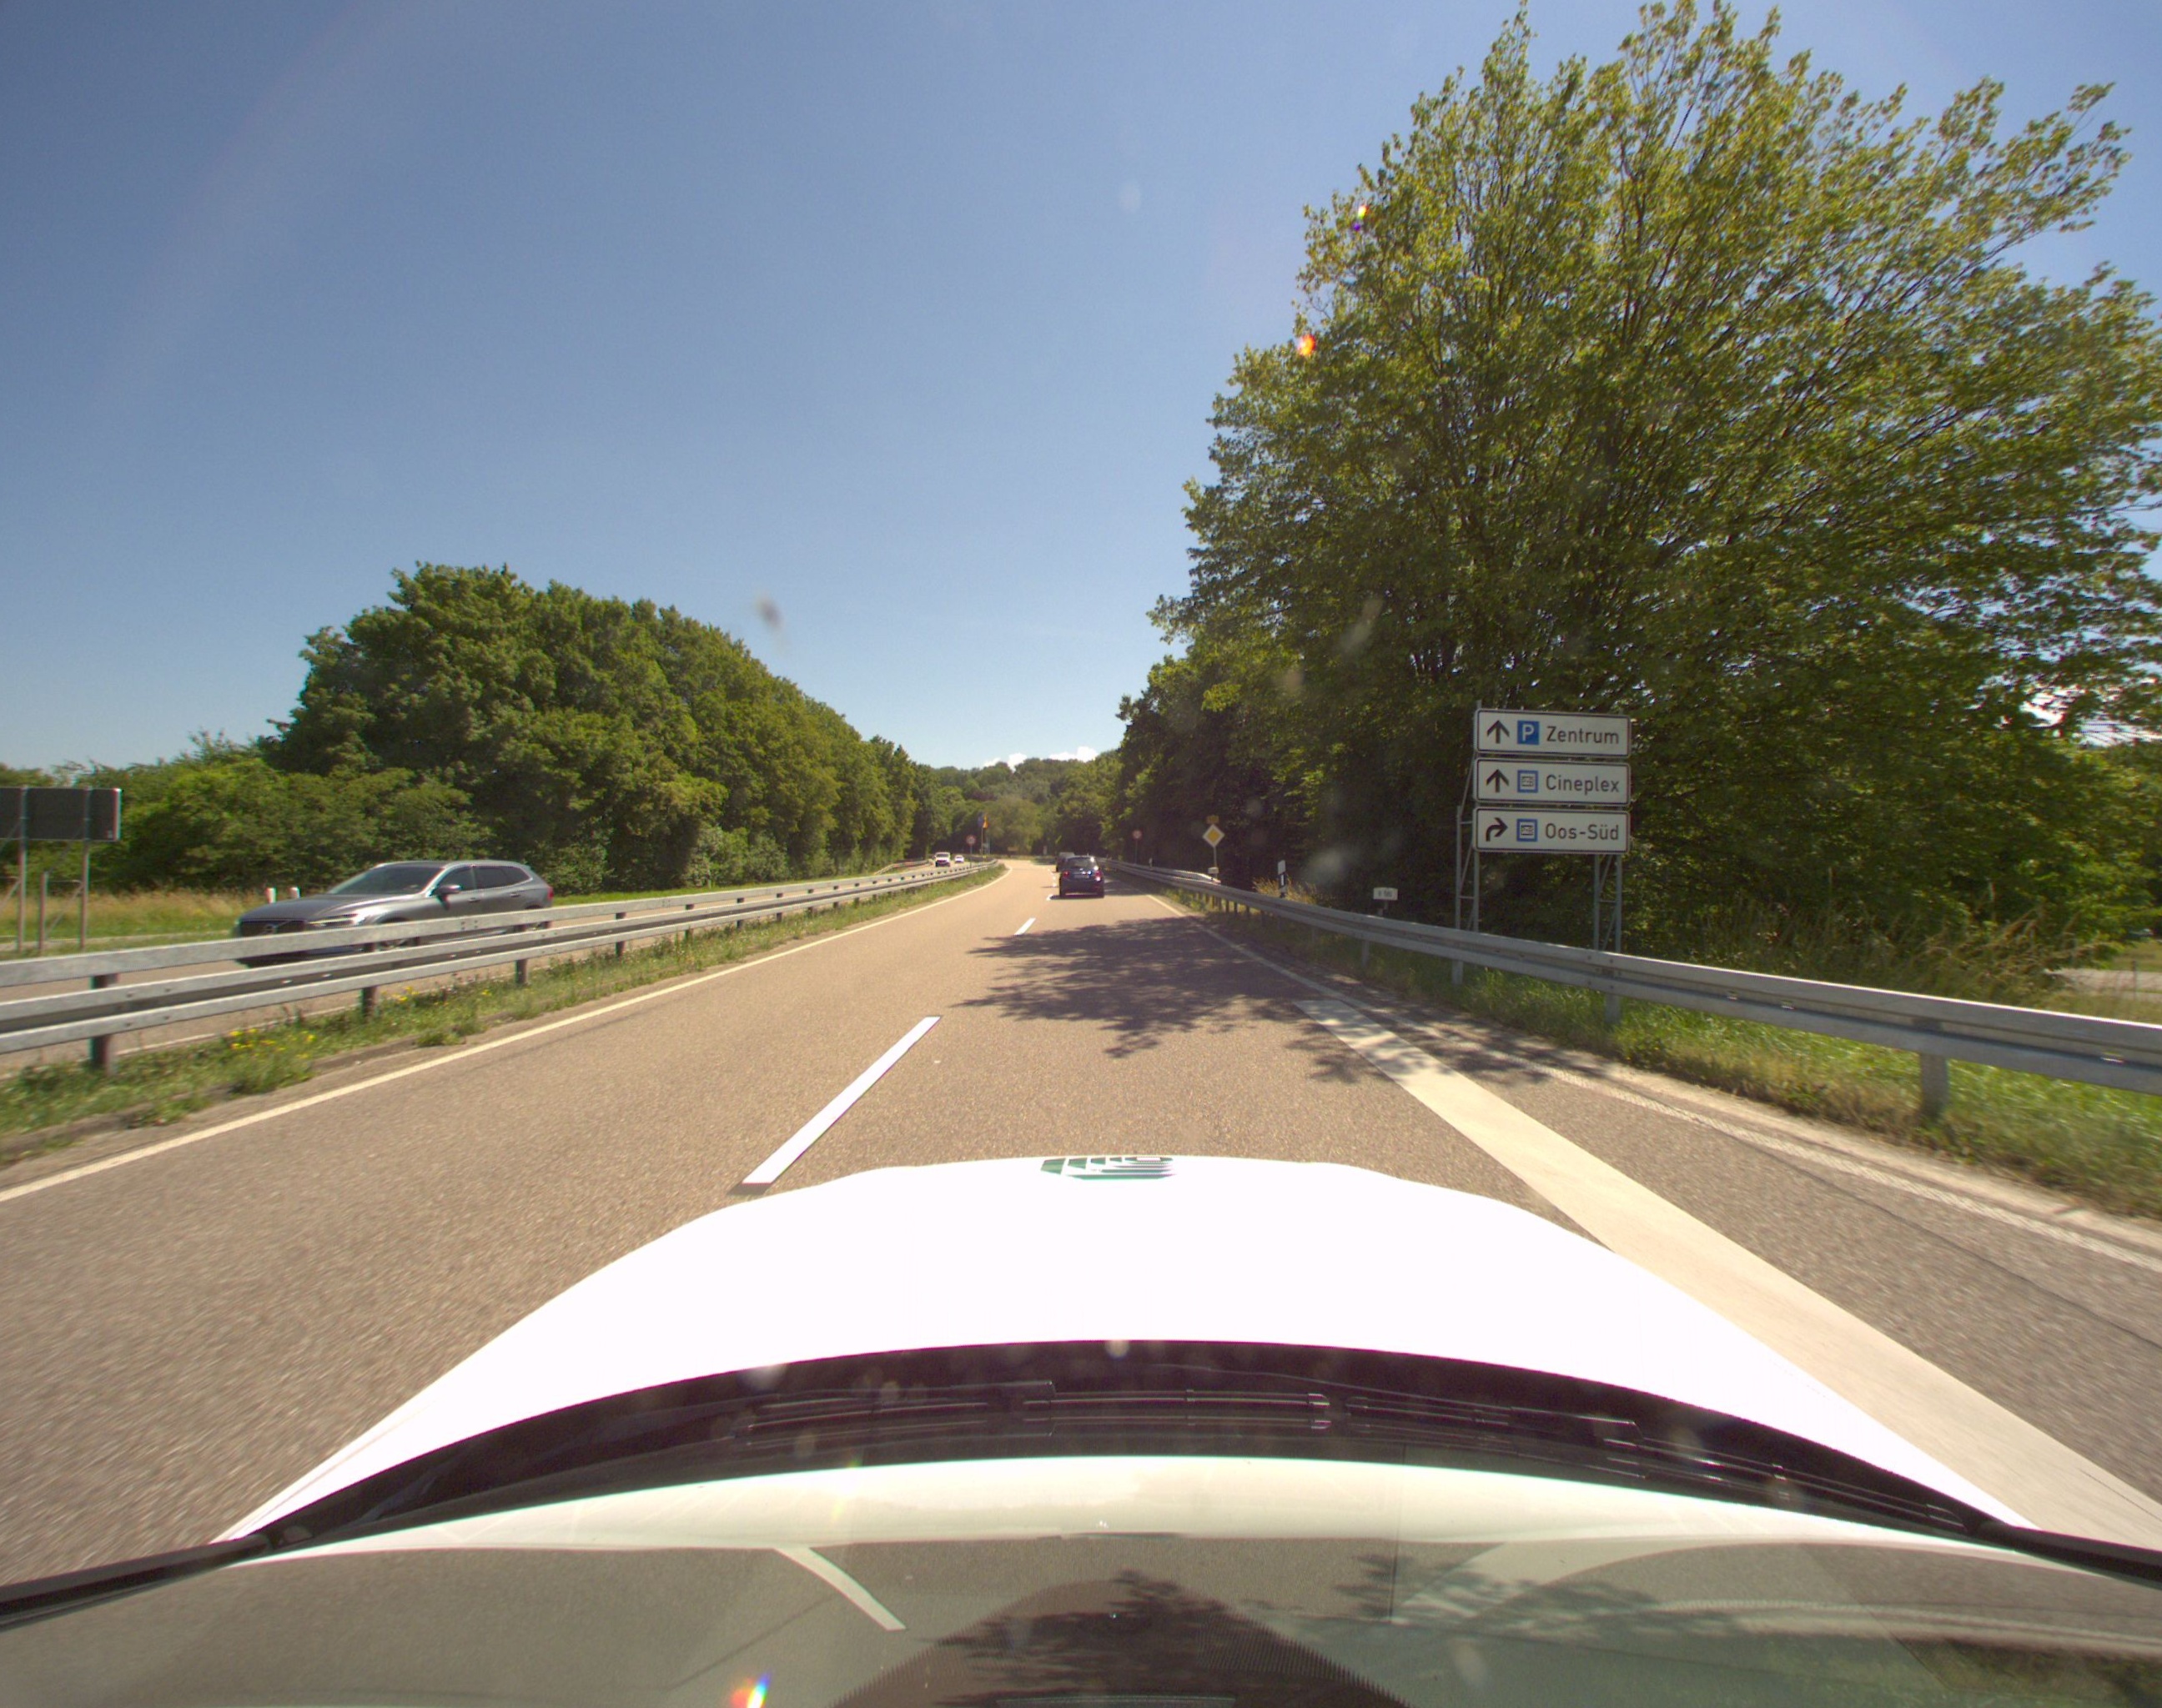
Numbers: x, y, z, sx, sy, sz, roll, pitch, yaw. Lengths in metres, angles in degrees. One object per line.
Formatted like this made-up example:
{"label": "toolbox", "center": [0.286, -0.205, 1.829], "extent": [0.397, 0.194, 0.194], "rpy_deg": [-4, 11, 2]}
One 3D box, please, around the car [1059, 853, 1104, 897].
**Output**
{"label": "car", "center": [0.000, 0.720, 29.862], "extent": [1.509, 1.501, 3.588], "rpy_deg": [-1, 0, -1]}

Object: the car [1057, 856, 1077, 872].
{"label": "car", "center": [-1.223, 0.848, 70.005], "extent": [1.522, 1.313, 3.409], "rpy_deg": [-1, 0, -5]}

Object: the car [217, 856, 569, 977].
{"label": "car", "center": [-10.864, 0.863, 13.435], "extent": [1.817, 1.617, 4.542], "rpy_deg": [-1, 0, 2]}

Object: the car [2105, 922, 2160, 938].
{"label": "car", "center": [112.641, 8.156, 87.279], "extent": [1.694, 1.400, 3.368], "rpy_deg": [-1, 0, 9]}

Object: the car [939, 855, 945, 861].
{"label": "car", "center": [-38.133, 1.179, 223.477], "extent": [1.650, 1.606, 4.208], "rpy_deg": [-1, 0, -8]}

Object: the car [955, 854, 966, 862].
{"label": "car", "center": [-22.382, 0.747, 151.763], "extent": [1.648, 1.447, 4.213], "rpy_deg": [-1, 0, -4]}

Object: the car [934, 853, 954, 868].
{"label": "car", "center": [-18.454, 0.850, 109.961], "extent": [1.984, 1.951, 5.634], "rpy_deg": [-1, 0, -3]}
